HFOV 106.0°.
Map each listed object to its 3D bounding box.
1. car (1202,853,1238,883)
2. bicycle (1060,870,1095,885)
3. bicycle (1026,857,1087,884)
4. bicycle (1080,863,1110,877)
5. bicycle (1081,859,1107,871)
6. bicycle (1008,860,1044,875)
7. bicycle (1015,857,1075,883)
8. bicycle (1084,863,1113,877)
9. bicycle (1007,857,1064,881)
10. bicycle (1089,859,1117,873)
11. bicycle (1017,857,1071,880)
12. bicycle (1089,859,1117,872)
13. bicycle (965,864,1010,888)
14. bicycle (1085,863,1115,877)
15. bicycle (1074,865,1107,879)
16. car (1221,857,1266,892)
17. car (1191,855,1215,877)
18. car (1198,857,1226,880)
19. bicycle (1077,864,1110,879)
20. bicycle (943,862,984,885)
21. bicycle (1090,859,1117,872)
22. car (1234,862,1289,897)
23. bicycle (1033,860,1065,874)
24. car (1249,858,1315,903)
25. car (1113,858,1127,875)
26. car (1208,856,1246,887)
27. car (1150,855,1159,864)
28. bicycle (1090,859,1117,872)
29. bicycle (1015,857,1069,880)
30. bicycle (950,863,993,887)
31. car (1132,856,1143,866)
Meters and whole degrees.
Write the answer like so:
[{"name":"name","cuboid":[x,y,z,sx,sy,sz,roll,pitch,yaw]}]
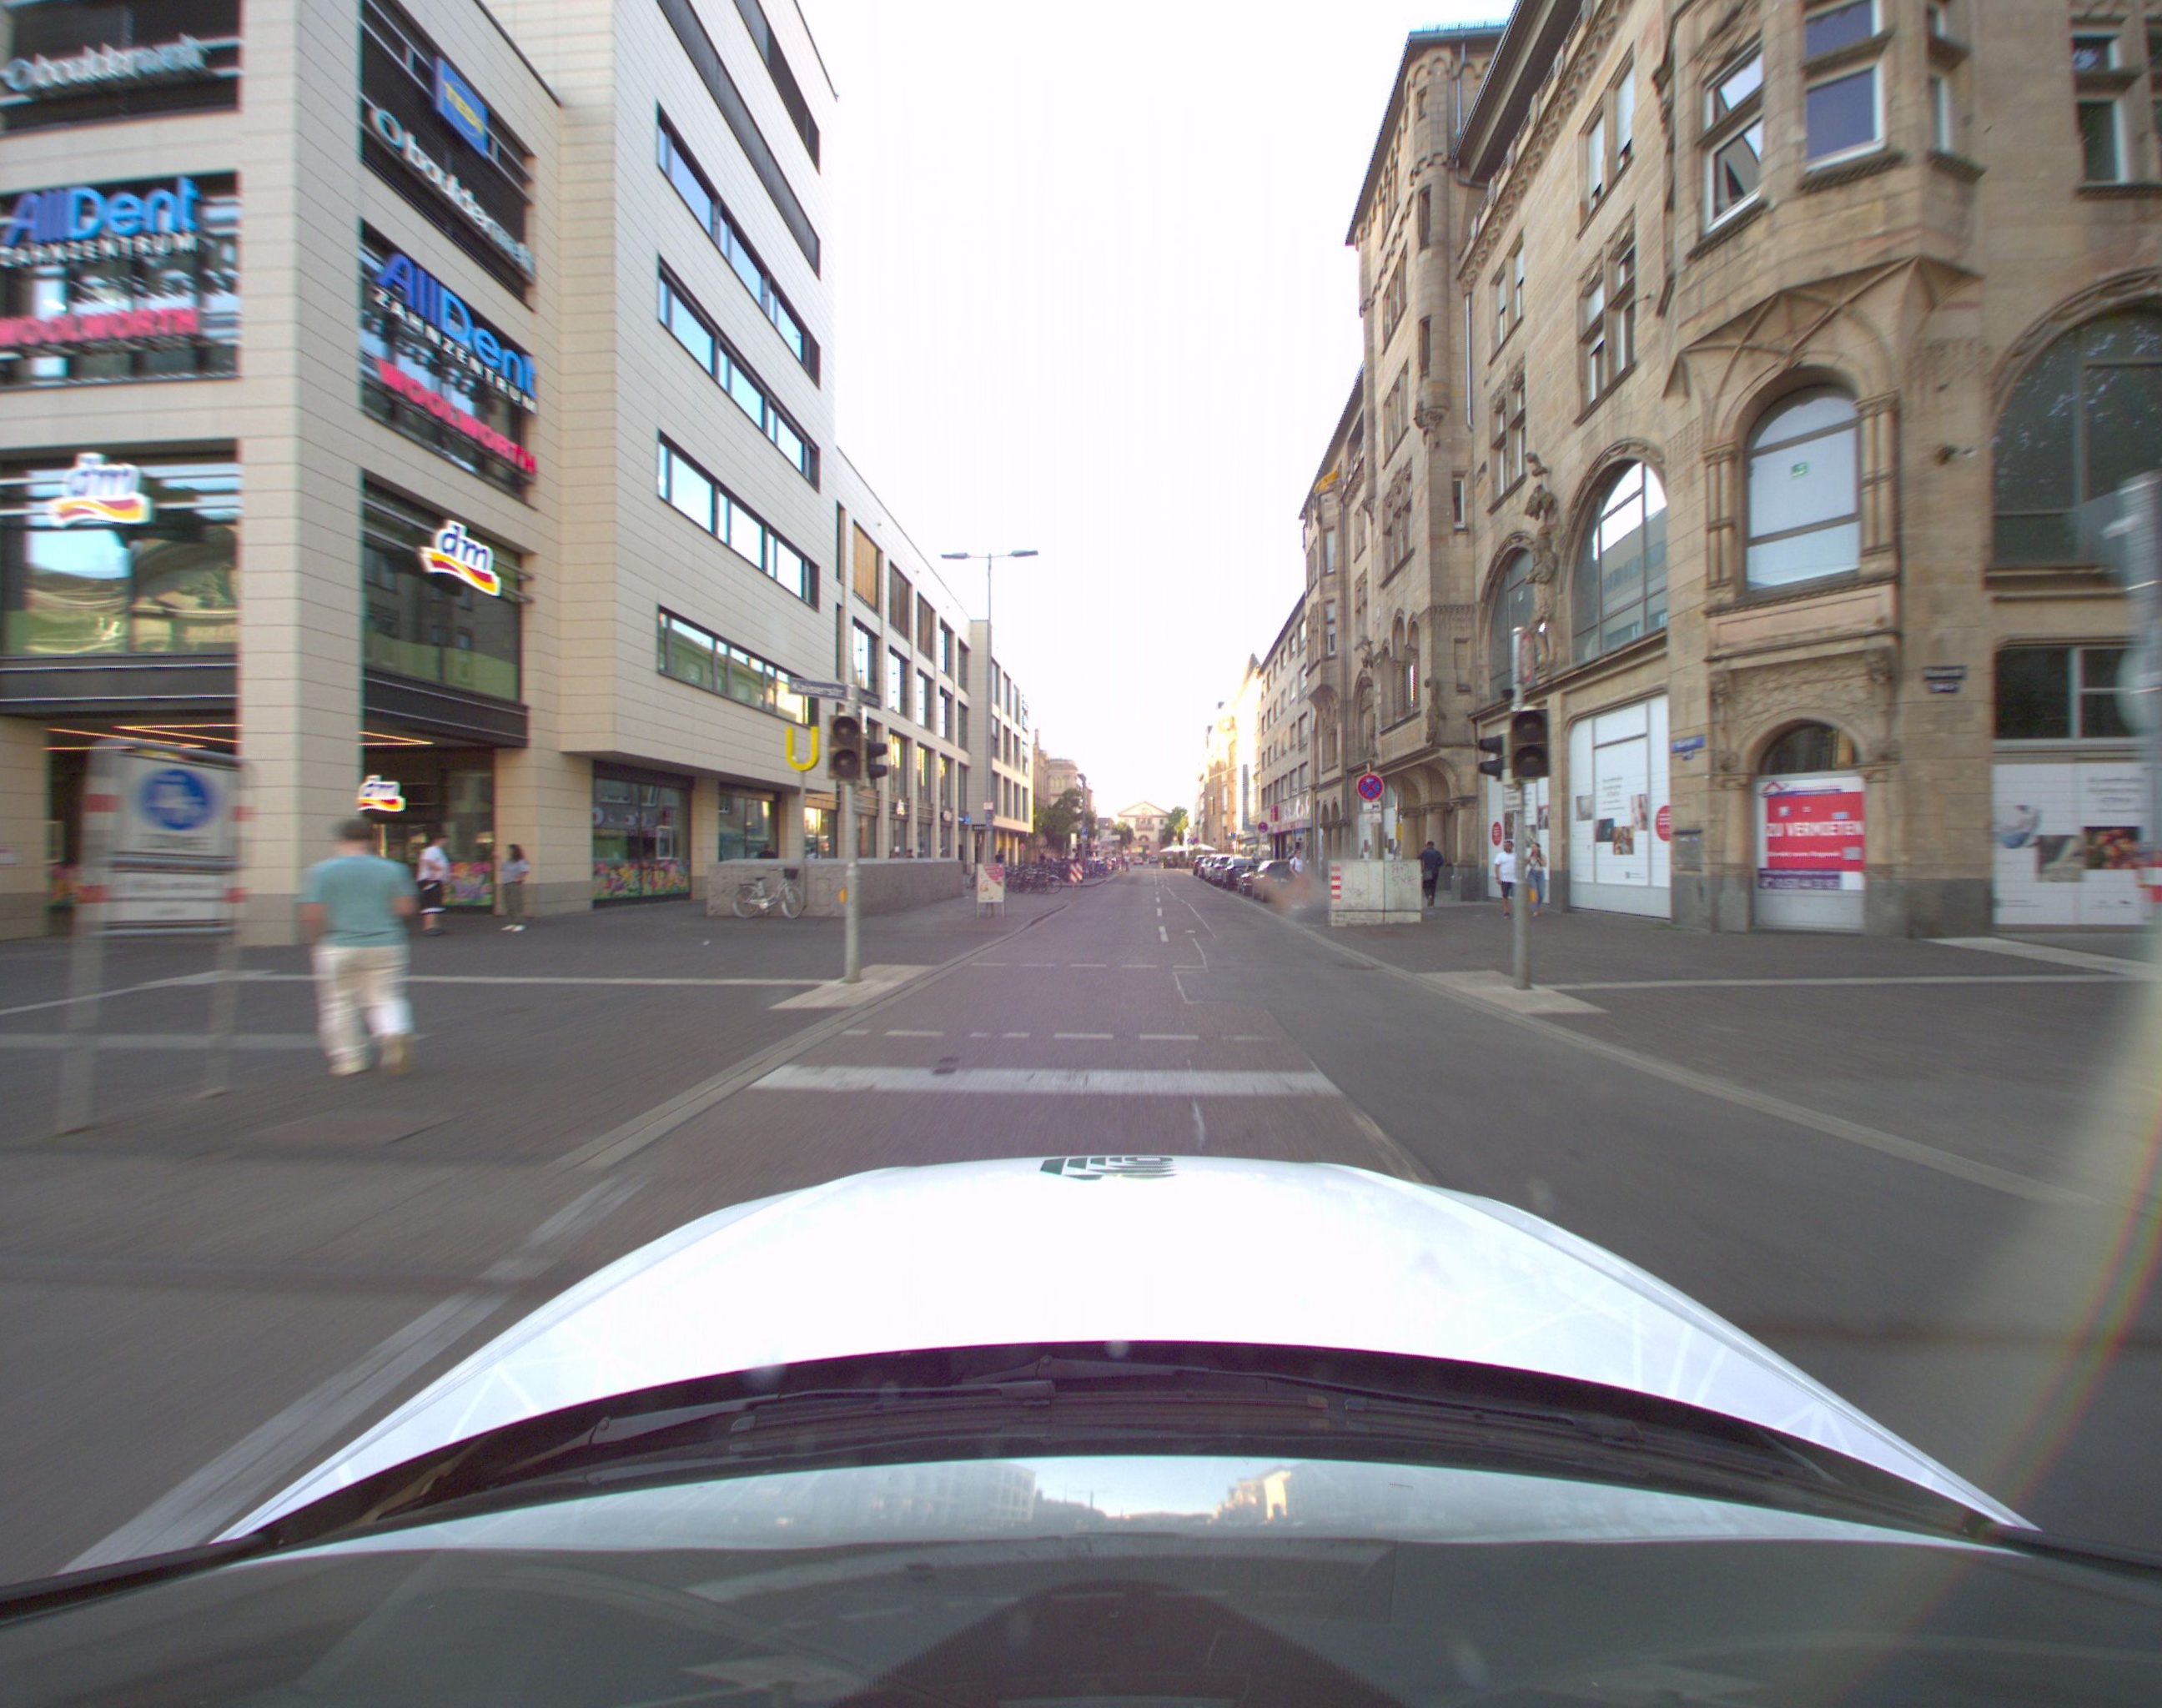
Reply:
[{"name":"car","cuboid":[8.683,0.862,51.044,1.791,1.768,4.403,-1,0,5]},{"name":"bicycle","cuboid":[-0.226,1.502,51.551,2.137,0.953,0.641,0,0,6]},{"name":"bicycle","cuboid":[-1.184,0.800,39.628,2.898,1.255,0.798,0,0,-22]},{"name":"bicycle","cuboid":[1.023,1.199,60.025,2.137,1.029,0.641,0,0,6]},{"name":"bicycle","cuboid":[1.103,0.910,68.992,2.137,1.029,0.641,0,0,6]},{"name":"bicycle","cuboid":[-3.412,0.833,50.638,2.137,0.953,0.641,0,0,6]},{"name":"bicycle","cuboid":[-1.780,0.787,40.761,2.898,1.255,0.798,0,0,-22]},{"name":"bicycle","cuboid":[1.332,1.205,61.529,2.137,1.029,0.641,0,0,6]},{"name":"bicycle","cuboid":[-2.404,0.773,43.005,2.898,1.255,0.798,0,0,-22]},{"name":"bicycle","cuboid":[1.695,0.925,63.112,2.137,1.029,0.641,0,0,6]},{"name":"bicycle","cuboid":[-2.051,0.780,45.437,2.898,1.255,0.798,0,0,-22]},{"name":"bicycle","cuboid":[1.751,0.926,63.881,2.137,1.029,0.641,0,0,6]},{"name":"bicycle","cuboid":[-4.369,1.033,38.047,1.976,1.121,0.554,1,0,-24]},{"name":"bicycle","cuboid":[1.434,1.208,60.788,2.137,1.029,0.641,0,0,6]},{"name":"bicycle","cuboid":[0.654,1.192,54.920,2.137,0.953,0.641,0,0,6]},{"name":"car","cuboid":[7.742,0.955,38.972,1.671,1.547,3.678,-1,0,4]},{"name":"car","cuboid":[9.994,0.958,67.046,1.671,1.666,3.678,-1,0,4]},{"name":"car","cuboid":[9.263,0.977,57.914,1.671,1.547,3.678,-1,0,4]},{"name":"bicycle","cuboid":[0.859,1.196,55.820,2.137,1.029,0.641,0,0,6]},{"name":"bicycle","cuboid":[-5.944,0.997,41.220,1.976,1.121,0.554,1,0,-24]},{"name":"bicycle","cuboid":[1.784,0.927,64.918,2.137,1.029,0.641,0,0,6]},{"name":"car","cuboid":[7.406,1.026,33.794,1.671,1.291,4.052,-1,0,5]},{"name":"bicycle","cuboid":[-2.159,0.861,55.112,2.137,0.953,0.641,0,0,6]},{"name":"car","cuboid":[6.945,0.890,28.451,1.671,1.424,3.678,-1,0,4]},{"name":"car","cuboid":[4.893,1.515,102.135,1.703,2.013,4.005,0,0,5]},{"name":"car","cuboid":[8.020,0.927,44.964,1.671,1.613,4.033,-1,0,5]},{"name":"car","cuboid":[16.528,1.284,182.495,1.984,1.904,4.005,1,0,4]},{"name":"bicycle","cuboid":[1.790,0.927,65.646,2.137,1.029,0.641,0,0,6]},{"name":"bicycle","cuboid":[-2.122,0.779,44.464,2.898,1.255,0.798,0,0,-22]},{"name":"bicycle","cuboid":[-5.275,1.012,39.168,1.976,1.121,0.554,1,0,-24]},{"name":"car","cuboid":[11.400,1.316,163.682,1.984,1.904,4.005,1,0,4]}]
